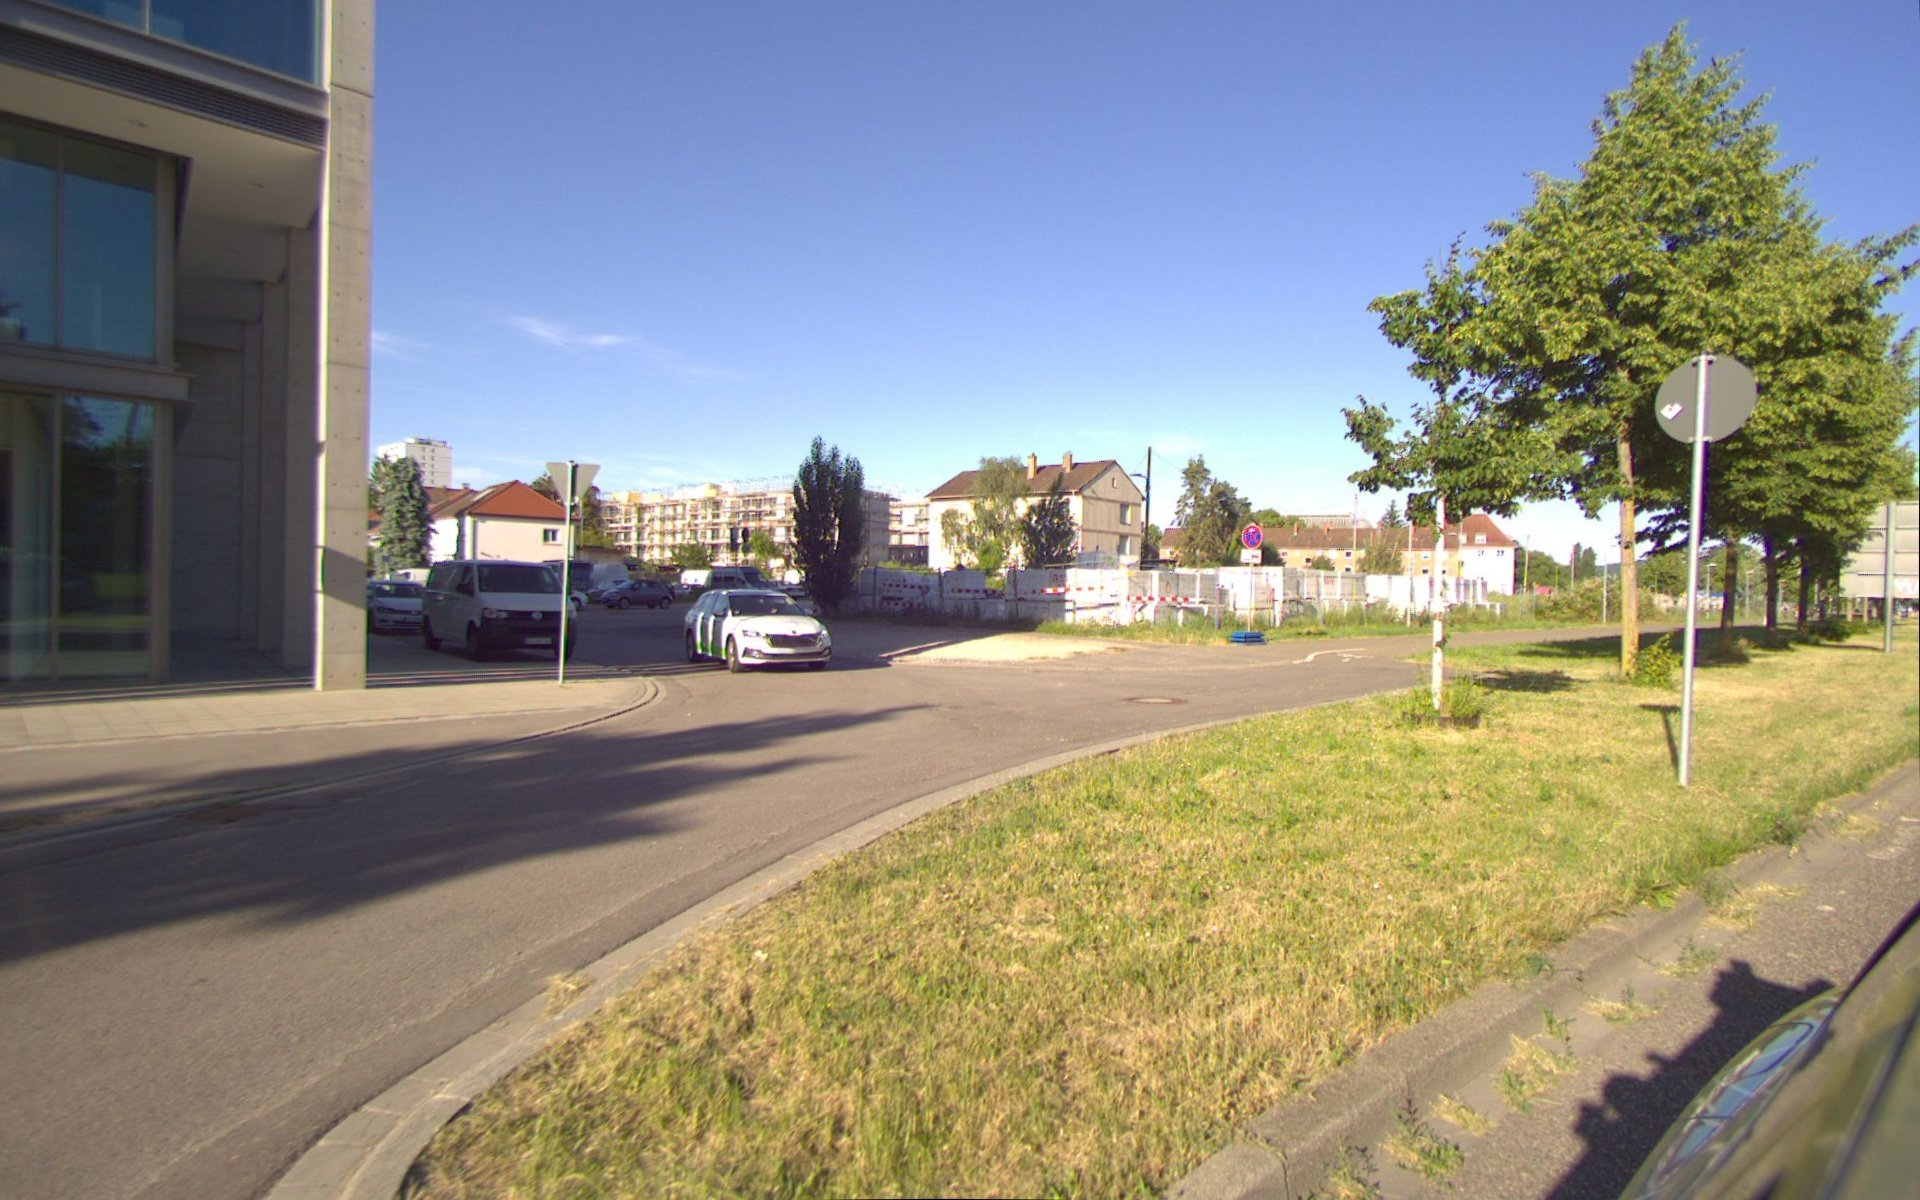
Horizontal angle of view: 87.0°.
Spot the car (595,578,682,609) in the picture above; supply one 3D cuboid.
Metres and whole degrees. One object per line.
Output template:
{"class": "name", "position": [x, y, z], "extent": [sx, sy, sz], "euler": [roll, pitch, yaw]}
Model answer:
{"class": "car", "position": [-16.427, -0.320, 51.800], "extent": [3.933, 1.485, 1.673], "euler": [1, 0, -44]}

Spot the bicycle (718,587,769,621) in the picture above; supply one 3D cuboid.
{"class": "bicycle", "position": [-7.990, 0.155, 37.394], "extent": [1.715, 1.206, 0.584], "euler": [2, 0, -41]}

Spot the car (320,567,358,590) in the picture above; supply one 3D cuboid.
{"class": "car", "position": [-46.451, -1.646, 75.672], "extent": [1.824, 1.660, 3.817], "euler": [0, 2, -42]}

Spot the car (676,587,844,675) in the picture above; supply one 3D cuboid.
{"class": "car", "position": [-3.928, 0.484, 19.225], "extent": [1.738, 1.410, 4.532], "euler": [-1, 2, -30]}

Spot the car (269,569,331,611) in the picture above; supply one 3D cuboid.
{"class": "car", "position": [-28.196, -0.457, 43.211], "extent": [1.718, 1.681, 3.841], "euler": [0, 2, -41]}

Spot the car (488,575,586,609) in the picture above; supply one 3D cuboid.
{"class": "car", "position": [-19.996, -0.369, 47.885], "extent": [3.933, 1.482, 1.673], "euler": [1, 0, -44]}

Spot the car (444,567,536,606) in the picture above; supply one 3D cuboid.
{"class": "car", "position": [-24.073, -0.690, 51.894], "extent": [3.933, 1.873, 1.673], "euler": [2, 0, -44]}

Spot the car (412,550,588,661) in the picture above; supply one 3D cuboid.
{"class": "car", "position": [-9.573, 0.051, 20.800], "extent": [1.904, 2.007, 5.076], "euler": [1, 0, -41]}

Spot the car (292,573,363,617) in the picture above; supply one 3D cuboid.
{"class": "car", "position": [-24.003, -0.236, 38.367], "extent": [1.718, 1.571, 3.841], "euler": [0, 2, -41]}

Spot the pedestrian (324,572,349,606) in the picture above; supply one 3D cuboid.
{"class": "pedestrian", "position": [-34.049, -0.618, 55.282], "extent": [0.947, 1.854, 1.194], "euler": [0, 1, -44]}
